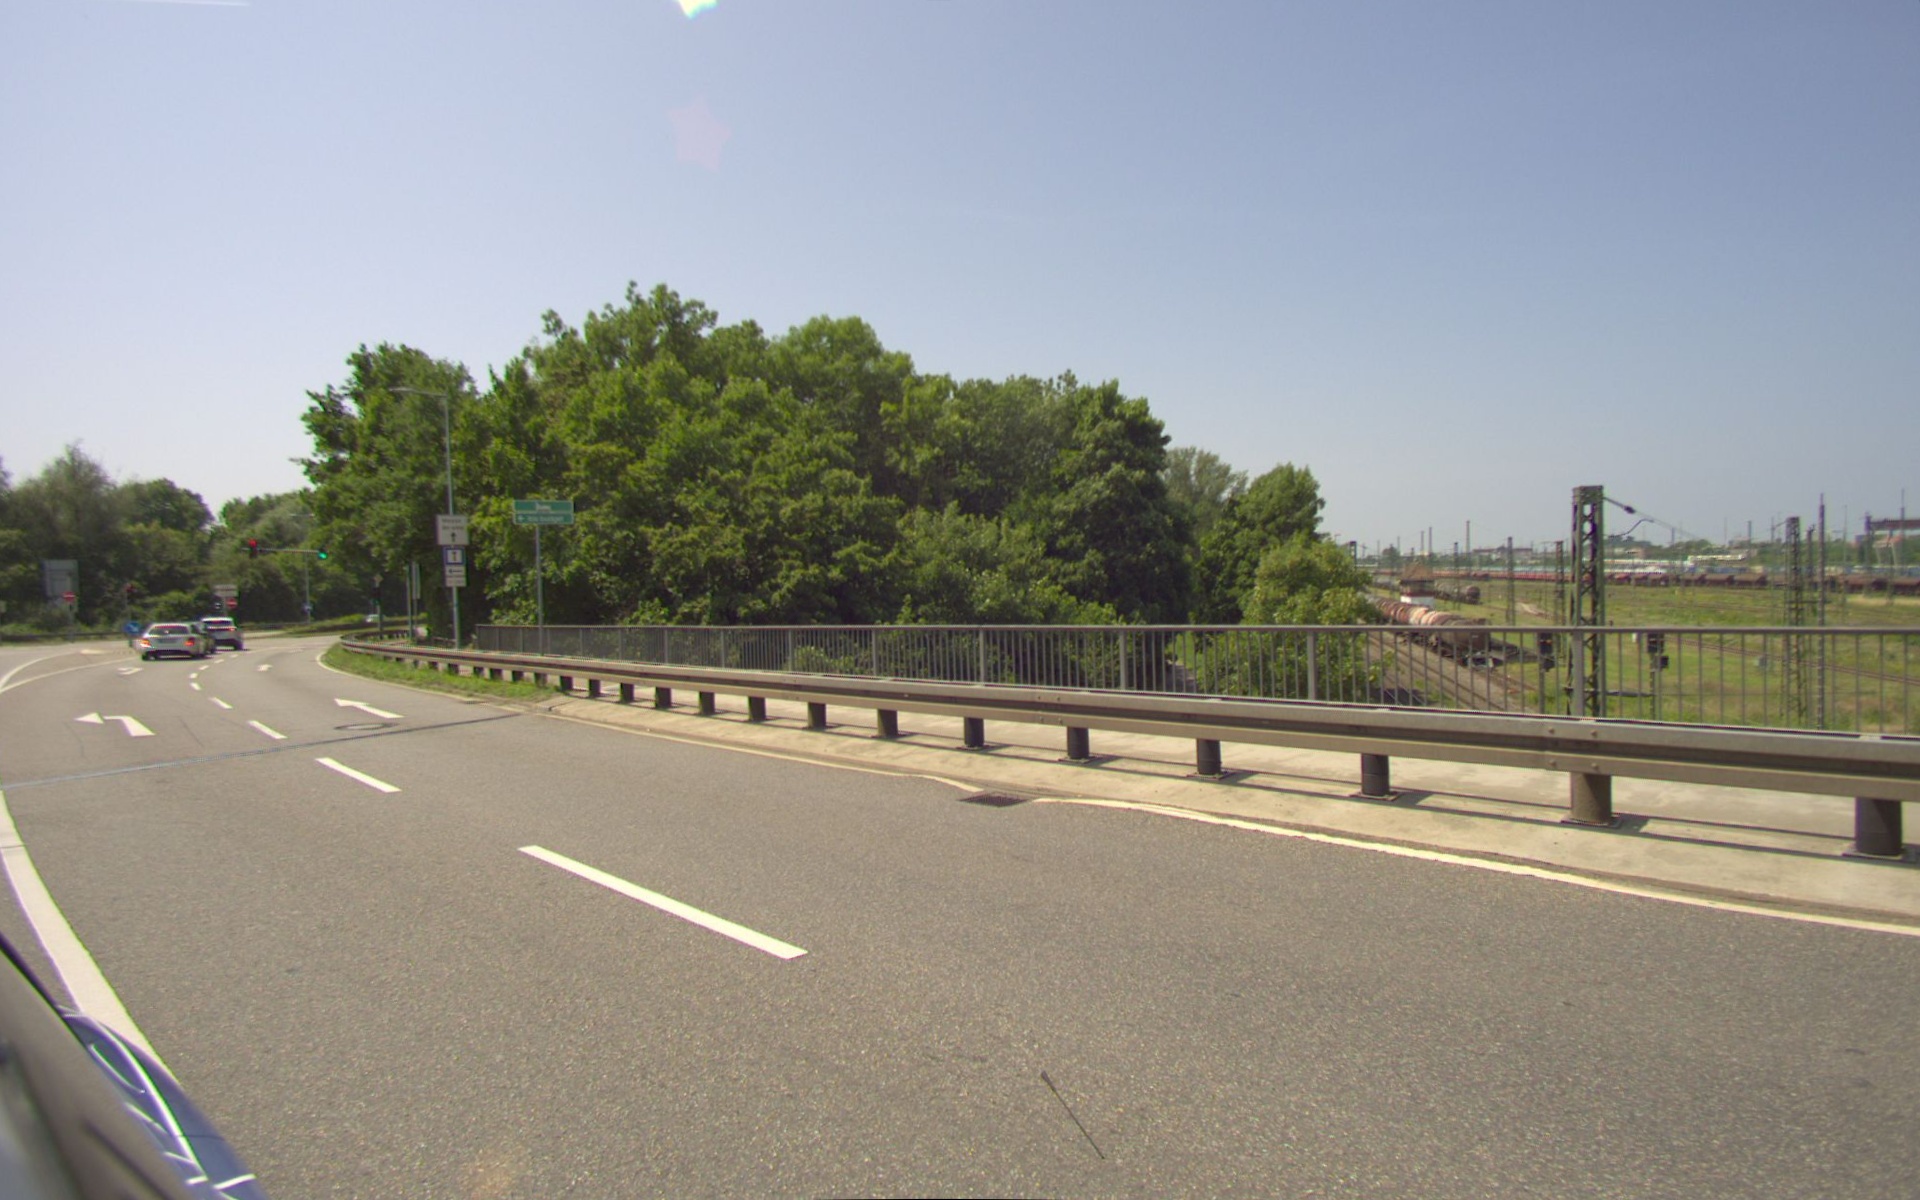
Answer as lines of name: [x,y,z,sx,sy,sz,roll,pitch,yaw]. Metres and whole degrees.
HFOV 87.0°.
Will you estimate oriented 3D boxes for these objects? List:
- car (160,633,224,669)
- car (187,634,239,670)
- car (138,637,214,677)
car: [-34.115,2.237,45.072,1.802,1.417,4.560,0,-1,-31]
car: [-37.795,2.596,51.286,1.803,1.651,4.591,0,-1,-33]
car: [-30.936,2.217,40.042,1.802,1.417,4.902,1,-2,-31]
